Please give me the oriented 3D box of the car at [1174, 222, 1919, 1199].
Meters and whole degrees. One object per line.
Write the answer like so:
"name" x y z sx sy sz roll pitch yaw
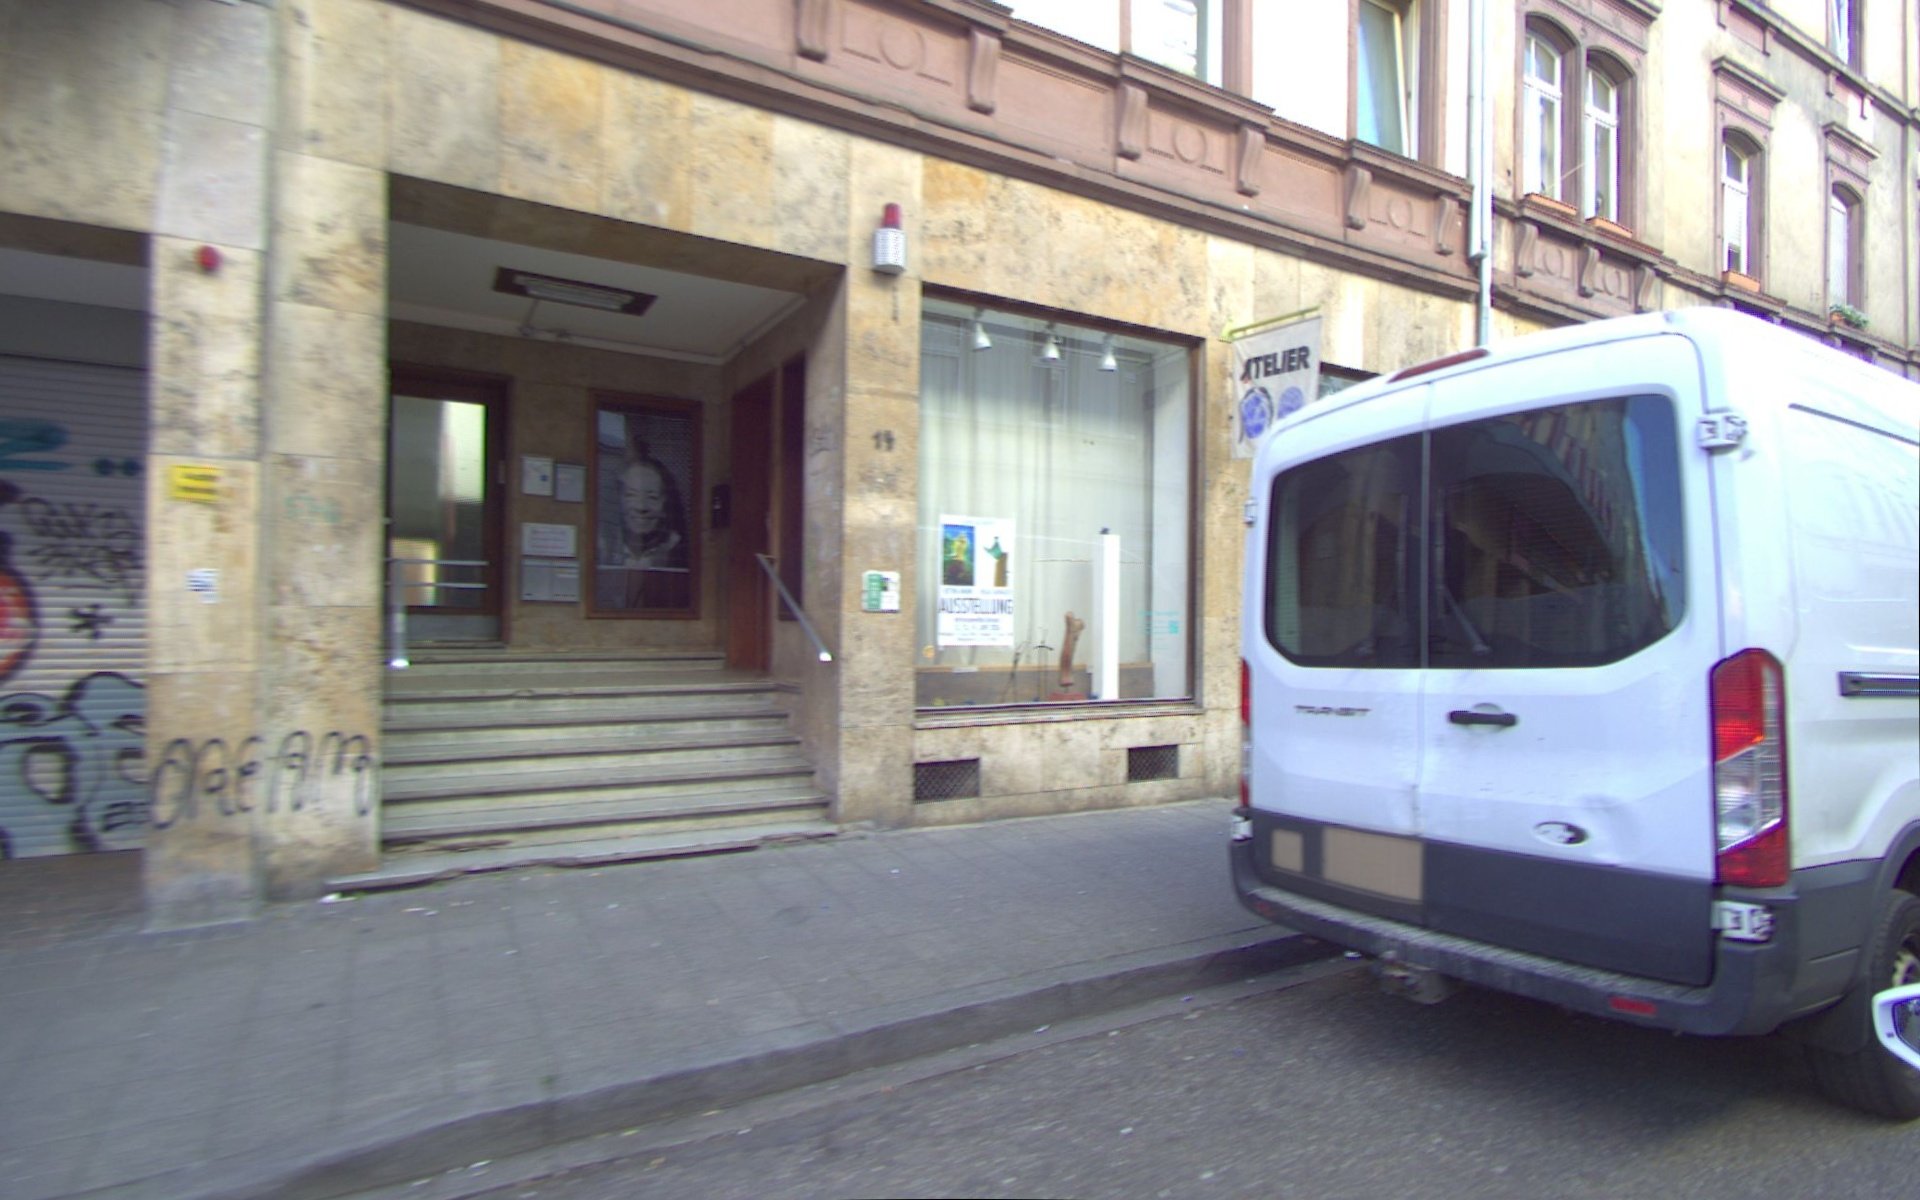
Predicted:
"car" 3.981 0.374 4.987 5.854 2.484 2.157 1 -2 -32

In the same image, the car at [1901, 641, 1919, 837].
"car" 9.178 1.069 7.929 3.797 1.466 1.637 1 -2 -32
